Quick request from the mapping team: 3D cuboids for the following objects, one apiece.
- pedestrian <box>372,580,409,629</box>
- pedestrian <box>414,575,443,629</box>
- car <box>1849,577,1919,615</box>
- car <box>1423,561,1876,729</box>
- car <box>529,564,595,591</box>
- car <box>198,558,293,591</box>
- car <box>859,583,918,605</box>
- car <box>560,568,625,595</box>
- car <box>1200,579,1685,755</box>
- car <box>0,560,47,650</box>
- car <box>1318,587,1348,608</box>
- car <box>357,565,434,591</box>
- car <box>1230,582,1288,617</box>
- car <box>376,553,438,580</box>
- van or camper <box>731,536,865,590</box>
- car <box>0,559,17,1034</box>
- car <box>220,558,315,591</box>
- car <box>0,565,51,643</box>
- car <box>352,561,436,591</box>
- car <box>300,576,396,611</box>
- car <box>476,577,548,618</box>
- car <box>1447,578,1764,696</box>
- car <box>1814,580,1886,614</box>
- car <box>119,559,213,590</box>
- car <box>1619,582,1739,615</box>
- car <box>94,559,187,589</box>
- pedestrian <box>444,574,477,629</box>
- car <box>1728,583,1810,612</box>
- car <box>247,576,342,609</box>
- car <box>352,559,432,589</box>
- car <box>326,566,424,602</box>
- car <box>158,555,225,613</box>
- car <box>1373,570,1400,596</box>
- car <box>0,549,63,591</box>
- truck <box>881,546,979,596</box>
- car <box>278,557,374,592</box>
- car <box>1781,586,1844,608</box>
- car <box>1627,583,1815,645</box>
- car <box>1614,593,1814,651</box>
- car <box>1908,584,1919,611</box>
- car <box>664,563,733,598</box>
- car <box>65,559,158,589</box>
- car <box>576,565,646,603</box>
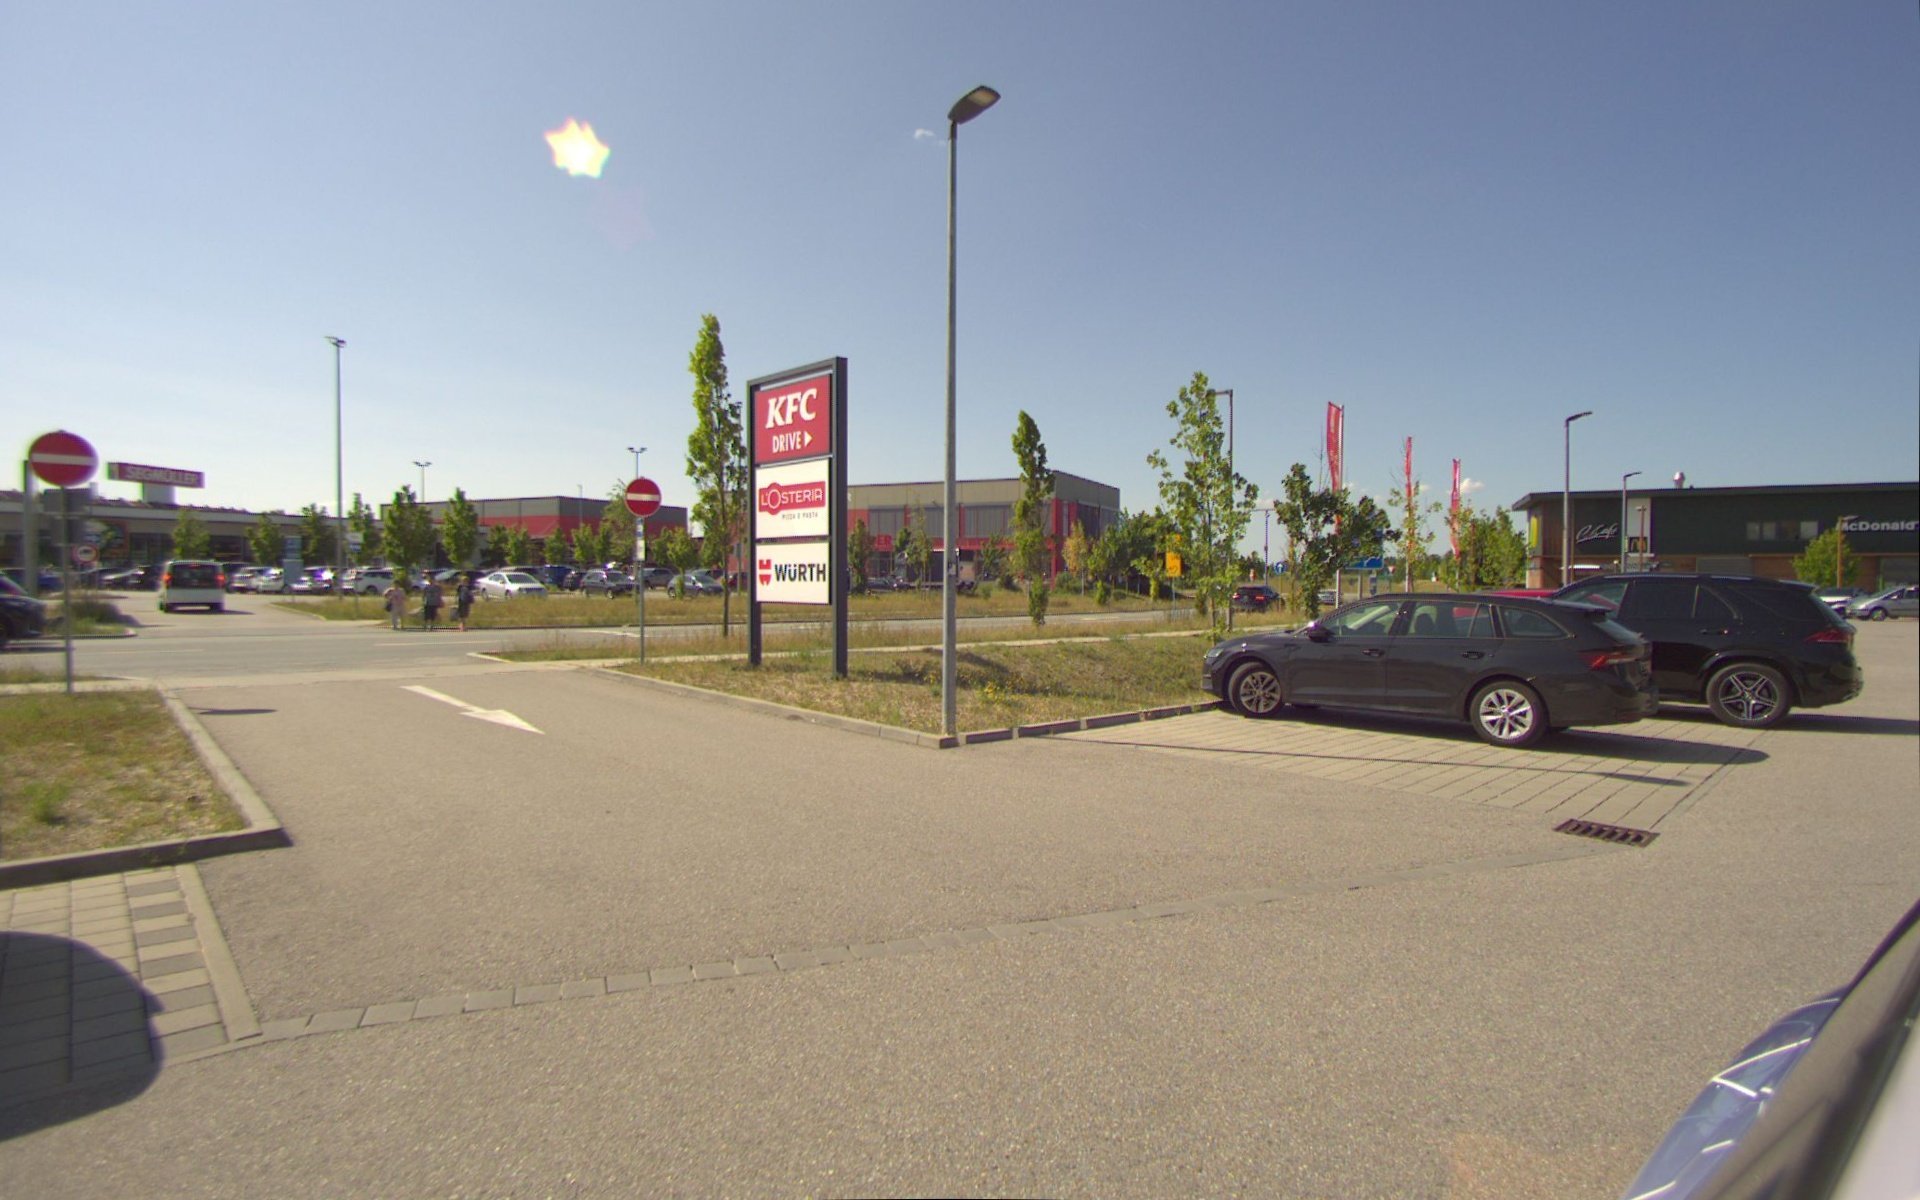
[{"bbox_3d":[-16.804,0.116,29.854,0.861,1.415,0.715,-1,0,42],"label":"pedestrian"},{"bbox_3d":[-15.750,0.059,29.997,0.655,1.575,0.625,0,0,-40],"label":"pedestrian"},{"bbox_3d":[45.704,-0.207,48.206,4.632,1.770,1.818,0,1,24],"label":"car"},{"bbox_3d":[8.637,0.464,12.976,4.572,1.783,1.867,0,0,42],"label":"car"},{"bbox_3d":[-28.985,-1.629,73.836,1.934,1.879,4.368,1,1,24],"label":"car"},{"bbox_3d":[-43.502,-1.521,61.711,1.934,1.879,4.368,1,1,24],"label":"car"},{"bbox_3d":[-5.018,-0.439,70.777,3.932,1.478,1.638,1,0,30],"label":"car"},{"bbox_3d":[-26.305,-1.323,72.594,1.934,1.879,4.368,1,1,24],"label":"car"},{"bbox_3d":[5.068,0.555,11.030,4.439,1.505,1.849,2,1,42],"label":"car"},{"bbox_3d":[-19.821,0.085,18.527,1.873,1.685,4.529,1,1,45],"label":"car"},{"bbox_3d":[31.266,-0.230,84.719,2.008,1.739,4.264,1,1,26],"label":"car"},{"bbox_3d":[-42.437,-1.665,76.167,1.934,1.879,4.910,1,1,24],"label":"car"},{"bbox_3d":[15.923,-0.047,53.695,1.982,1.754,4.711,1,1,29],"label":"car"},{"bbox_3d":[-44.493,-2.660,81.543,1.981,2.039,3.962,1,0,27],"label":"car"},{"bbox_3d":[-9.998,-2.224,62.928,7.897,3.141,2.421,0,0,-32],"label":"van or camper"},{"bbox_3d":[-5.094,0.621,2.472,4.053,1.495,1.837,-1,3,-45],"label":"car"},{"bbox_3d":[-41.502,-1.496,60.771,1.934,1.879,4.368,1,1,24],"label":"car"},{"bbox_3d":[-21.964,0.078,20.750,1.991,1.645,4.736,1,1,40],"label":"car"},{"bbox_3d":[-35.962,-1.492,64.412,1.934,1.879,4.368,1,1,24],"label":"car"},{"bbox_3d":[-34.424,-0.364,57.049,1.934,1.879,4.368,1,1,24],"label":"car"},{"bbox_3d":[-21.525,-0.145,48.582,1.966,1.879,4.278,0,1,-42],"label":"car"},{"bbox_3d":[10.152,0.515,16.062,4.061,1.629,1.869,0,0,40],"label":"car"},{"bbox_3d":[46.493,-0.171,52.877,4.128,1.675,1.975,0,0,-36],"label":"car"},{"bbox_3d":[-50.904,-1.611,64.957,1.933,1.879,4.373,1,0,22],"label":"car"},{"bbox_3d":[33.828,-0.049,47.762,4.446,1.487,1.813,-1,0,32],"label":"car"},{"bbox_3d":[-53.425,-1.642,66.055,1.933,1.879,4.373,1,0,22],"label":"car"},{"bbox_3d":[-14.918,0.041,30.226,0.743,1.620,0.691,0,0,-40],"label":"pedestrian"},{"bbox_3d":[43.452,-0.136,54.352,4.122,1.545,1.978,0,0,-29],"label":"car"},{"bbox_3d":[-39.025,-0.464,59.443,1.934,1.879,4.368,1,1,24],"label":"car"},{"bbox_3d":[-37.409,-1.700,66.762,1.934,1.879,4.368,1,1,24],"label":"car"},{"bbox_3d":[-31.996,-0.866,55.515,1.934,1.879,4.368,1,1,24],"label":"car"},{"bbox_3d":[-28.383,-0.584,37.440,1.844,1.979,4.893,0,1,-37],"label":"car"},{"bbox_3d":[37.598,-1.457,89.212,1.979,2.224,5.062,1,0,25],"label":"car"},{"bbox_3d":[-44.334,-1.366,46.302,1.934,1.879,4.536,1,1,24],"label":"car"},{"bbox_3d":[-2.239,-2.104,74.378,6.775,3.524,2.739,1,0,30],"label":"truck"},{"bbox_3d":[-36.391,-1.431,58.231,1.934,1.879,4.368,1,1,24],"label":"car"},{"bbox_3d":[59.774,-0.233,70.973,4.377,1.484,1.965,0,0,-29],"label":"car"},{"bbox_3d":[21.824,0.356,29.194,4.207,1.658,1.925,0,0,37],"label":"car"},{"bbox_3d":[20.086,0.552,27.186,4.179,1.428,1.751,0,0,35],"label":"car"},{"bbox_3d":[56.748,-0.129,57.308,1.676,1.511,4.123,0,1,-20],"label":"car"},{"bbox_3d":[-14.573,-1.078,56.189,1.922,1.879,4.396,0,1,-42],"label":"car"},{"bbox_3d":[-56.000,-1.670,66.875,1.933,1.879,4.373,1,0,22],"label":"car"},{"bbox_3d":[-18.272,-0.821,52.850,1.922,1.879,4.396,0,1,-42],"label":"car"}]
